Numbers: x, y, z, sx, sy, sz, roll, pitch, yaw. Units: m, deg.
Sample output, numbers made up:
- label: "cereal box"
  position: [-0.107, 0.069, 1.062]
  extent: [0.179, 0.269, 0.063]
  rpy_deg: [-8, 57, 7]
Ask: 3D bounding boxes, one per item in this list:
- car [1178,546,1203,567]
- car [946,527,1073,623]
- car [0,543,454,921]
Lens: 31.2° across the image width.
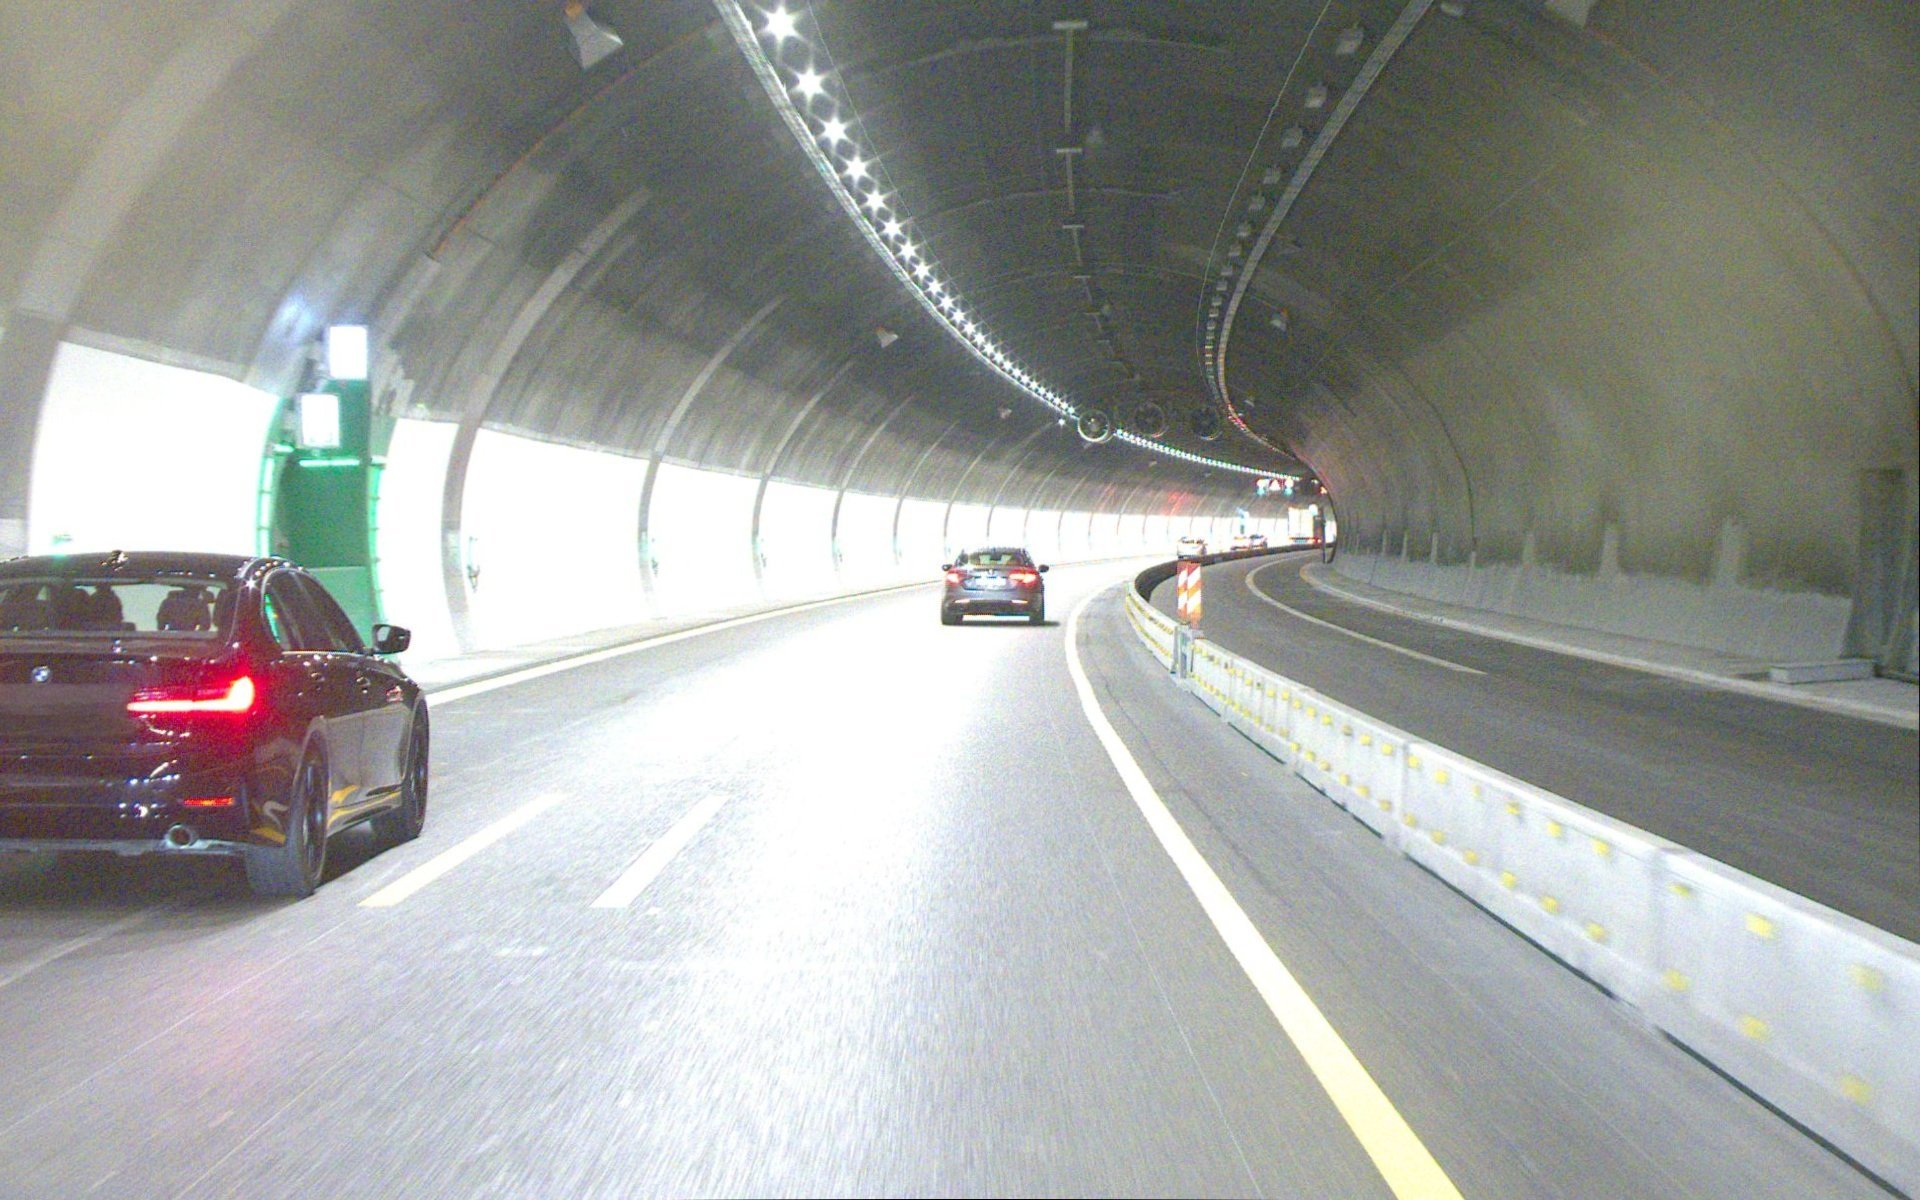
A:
- label: "car"
  position: [15.088, -2.880, 225.125]
  extent: [1.595, 1.328, 3.750]
  rpy_deg: [1, 1, 4]
- label: "car"
  position: [0.944, -0.486, 63.447]
  extent: [2.141, 1.700, 4.000]
  rpy_deg: [1, 1, 3]
- label: "car"
  position: [-3.583, 0.475, 15.845]
  extent: [1.778, 1.433, 4.883]
  rpy_deg: [1, 1, 0]
